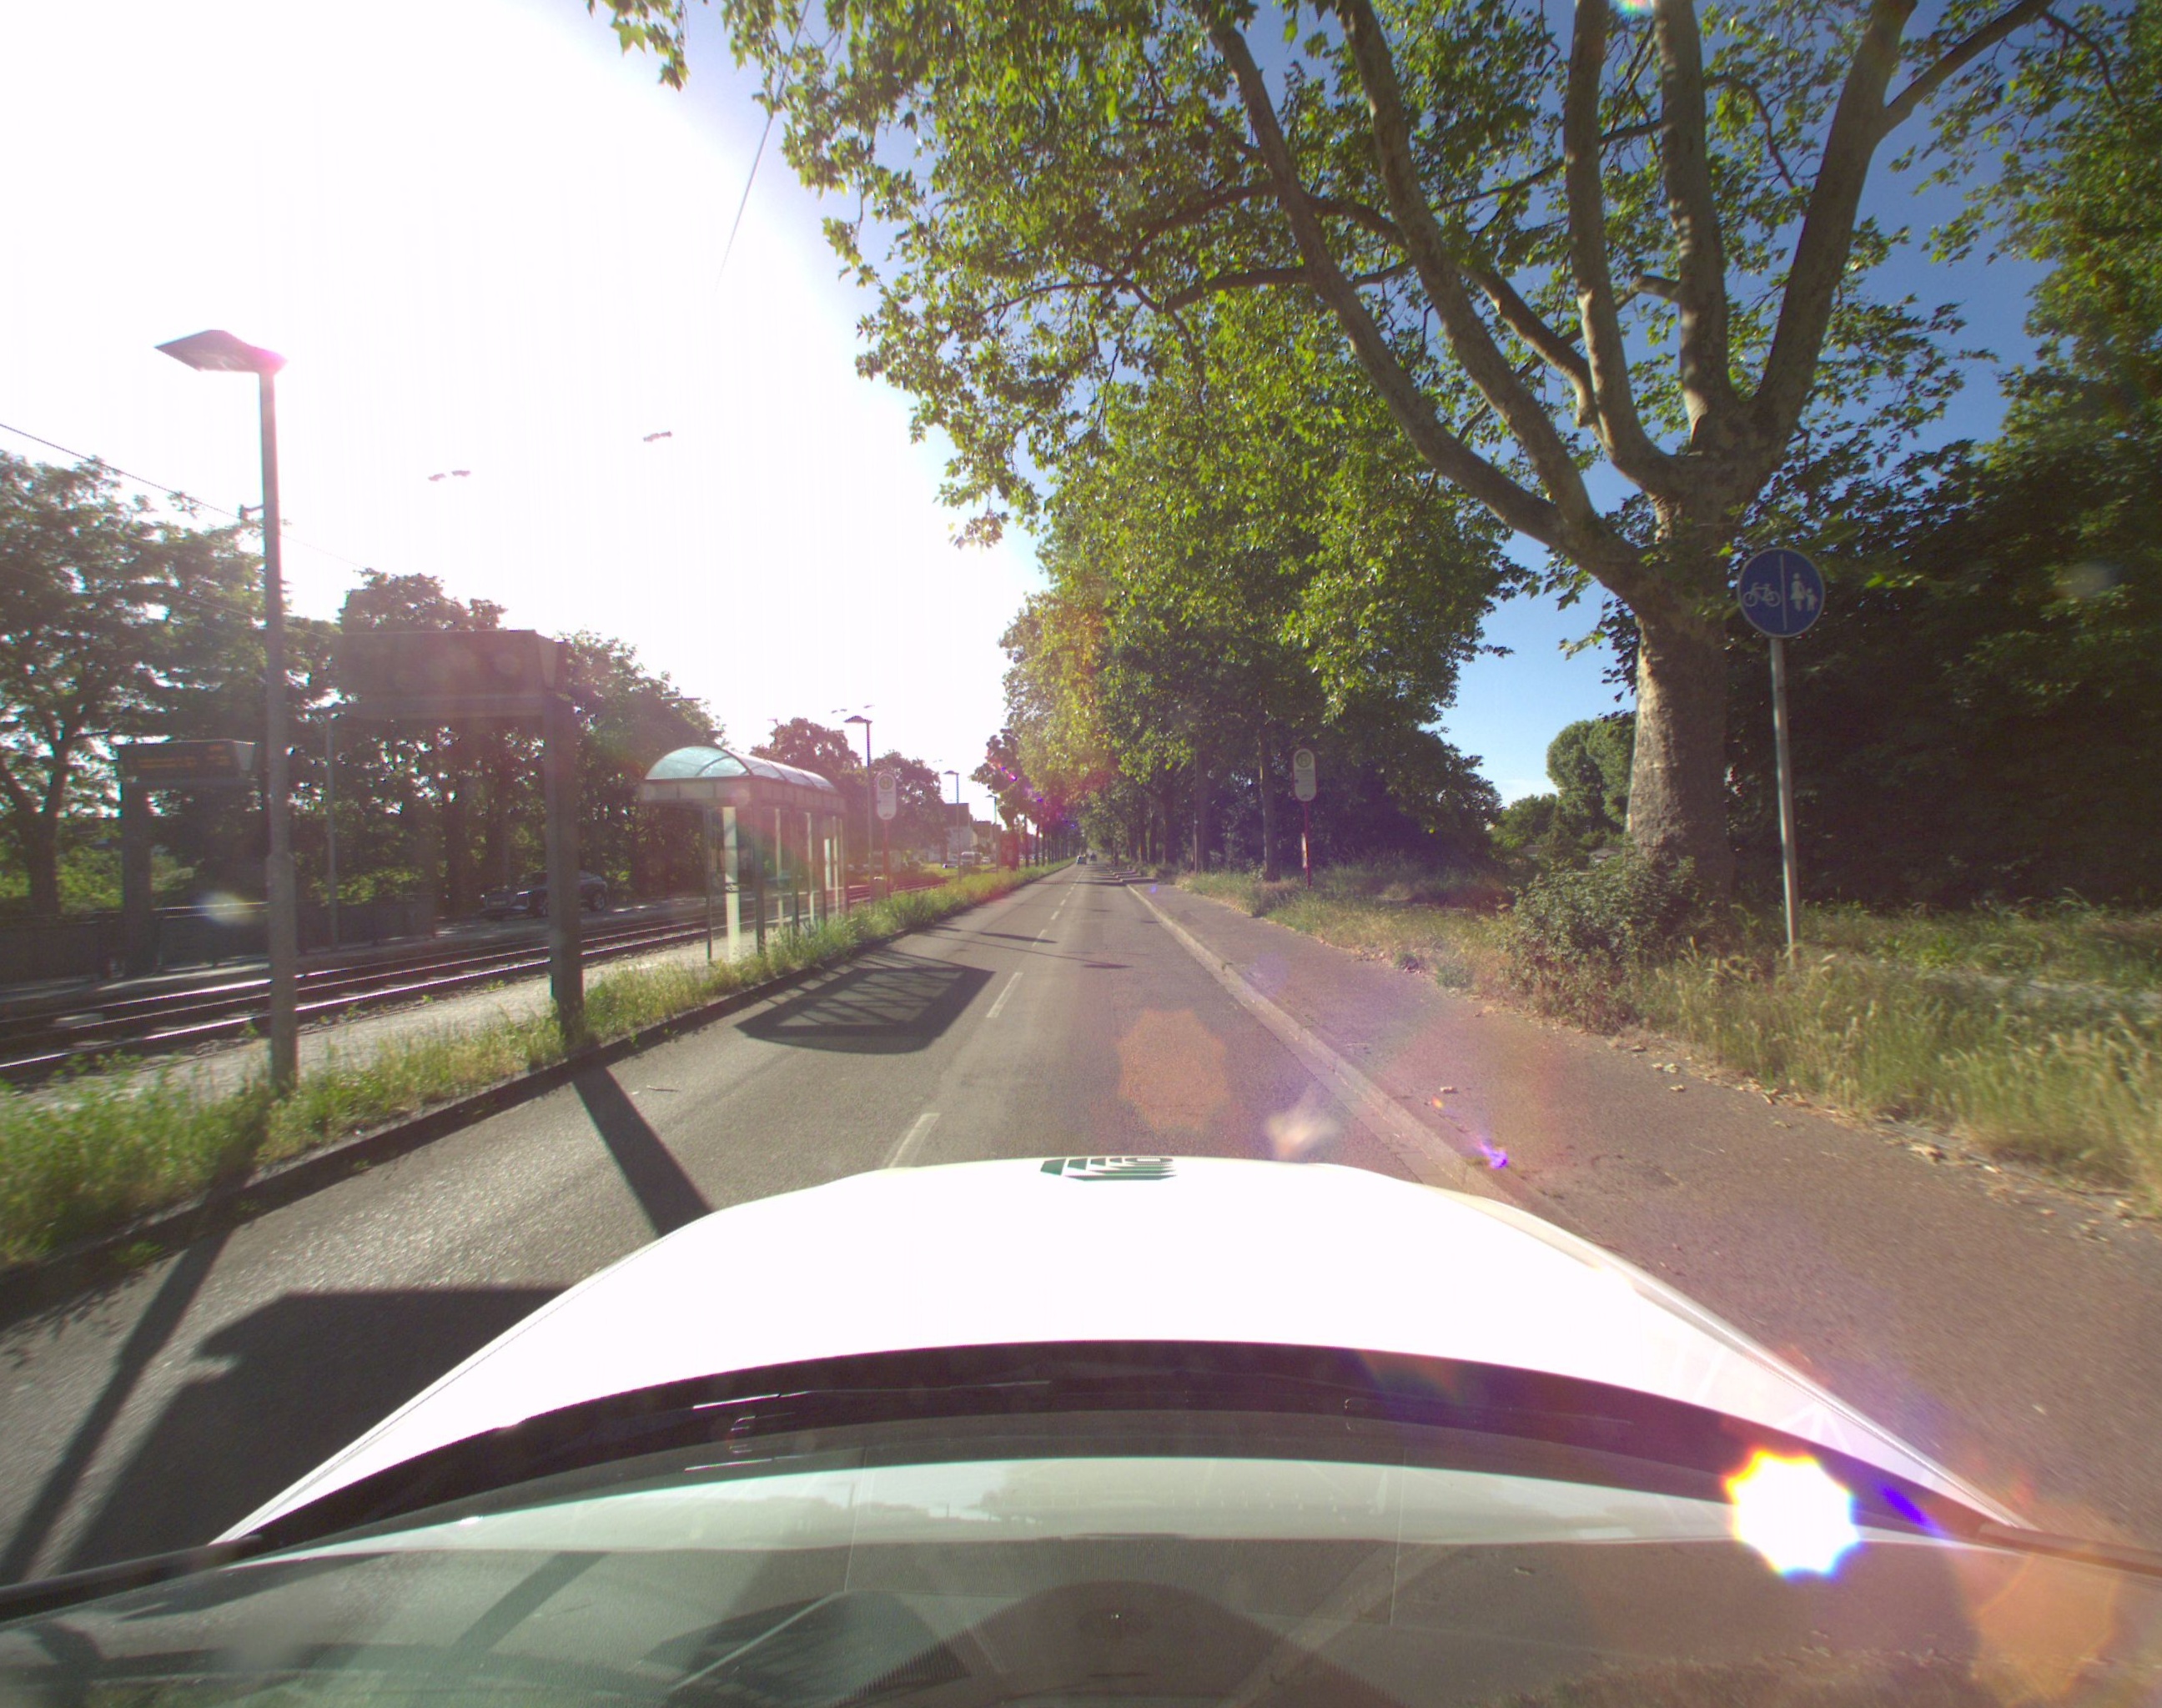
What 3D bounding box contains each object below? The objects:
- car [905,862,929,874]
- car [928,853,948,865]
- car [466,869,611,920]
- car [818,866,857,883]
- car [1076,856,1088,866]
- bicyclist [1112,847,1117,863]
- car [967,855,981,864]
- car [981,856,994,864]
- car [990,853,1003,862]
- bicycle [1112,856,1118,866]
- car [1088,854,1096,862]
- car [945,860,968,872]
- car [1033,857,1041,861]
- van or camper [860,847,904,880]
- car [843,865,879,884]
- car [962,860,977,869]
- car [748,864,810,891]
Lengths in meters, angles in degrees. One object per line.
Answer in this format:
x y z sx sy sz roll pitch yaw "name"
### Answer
-19.103 1.595 94.975 1.914 1.266 4.001 -2 0 1 "car"
-19.924 0.672 113.625 1.913 1.577 4.002 -2 0 2 "car"
-18.346 1.324 27.821 1.987 1.469 4.375 -2 0 0 "car"
-20.349 1.673 68.267 1.913 1.266 4.003 -2 0 3 "car"
0.168 1.164 135.511 1.861 1.486 3.556 -1 0 1 "car"
3.612 0.119 87.730 0.532 1.770 0.712 -2 0 -1 "bicyclist"
-19.058 0.959 145.263 1.913 1.627 4.002 -2 0 2 "car"
-18.247 1.191 159.089 1.913 1.438 4.002 -2 0 2 "car"
-17.888 0.720 172.808 1.985 1.643 4.004 -2 0 3 "car"
3.637 0.723 87.687 0.534 1.066 1.433 -2 0 -1 "bicycle"
2.507 0.838 179.762 1.744 1.604 3.751 -1 0 1 "car"
-14.544 1.333 95.109 1.913 1.266 4.002 -2 0 2 "car"
-12.550 1.447 231.665 1.914 1.266 4.000 -2 0 0 "car"
-19.733 0.903 81.082 2.580 3.106 6.789 -2 0 1 "van or camper"
-19.979 1.840 74.042 1.913 1.562 4.003 -2 0 3 "car"
-18.758 1.778 137.127 1.737 1.496 3.594 -2 0 2 "car"
-18.230 1.405 49.334 1.986 1.469 4.378 -2 0 2 "car"
